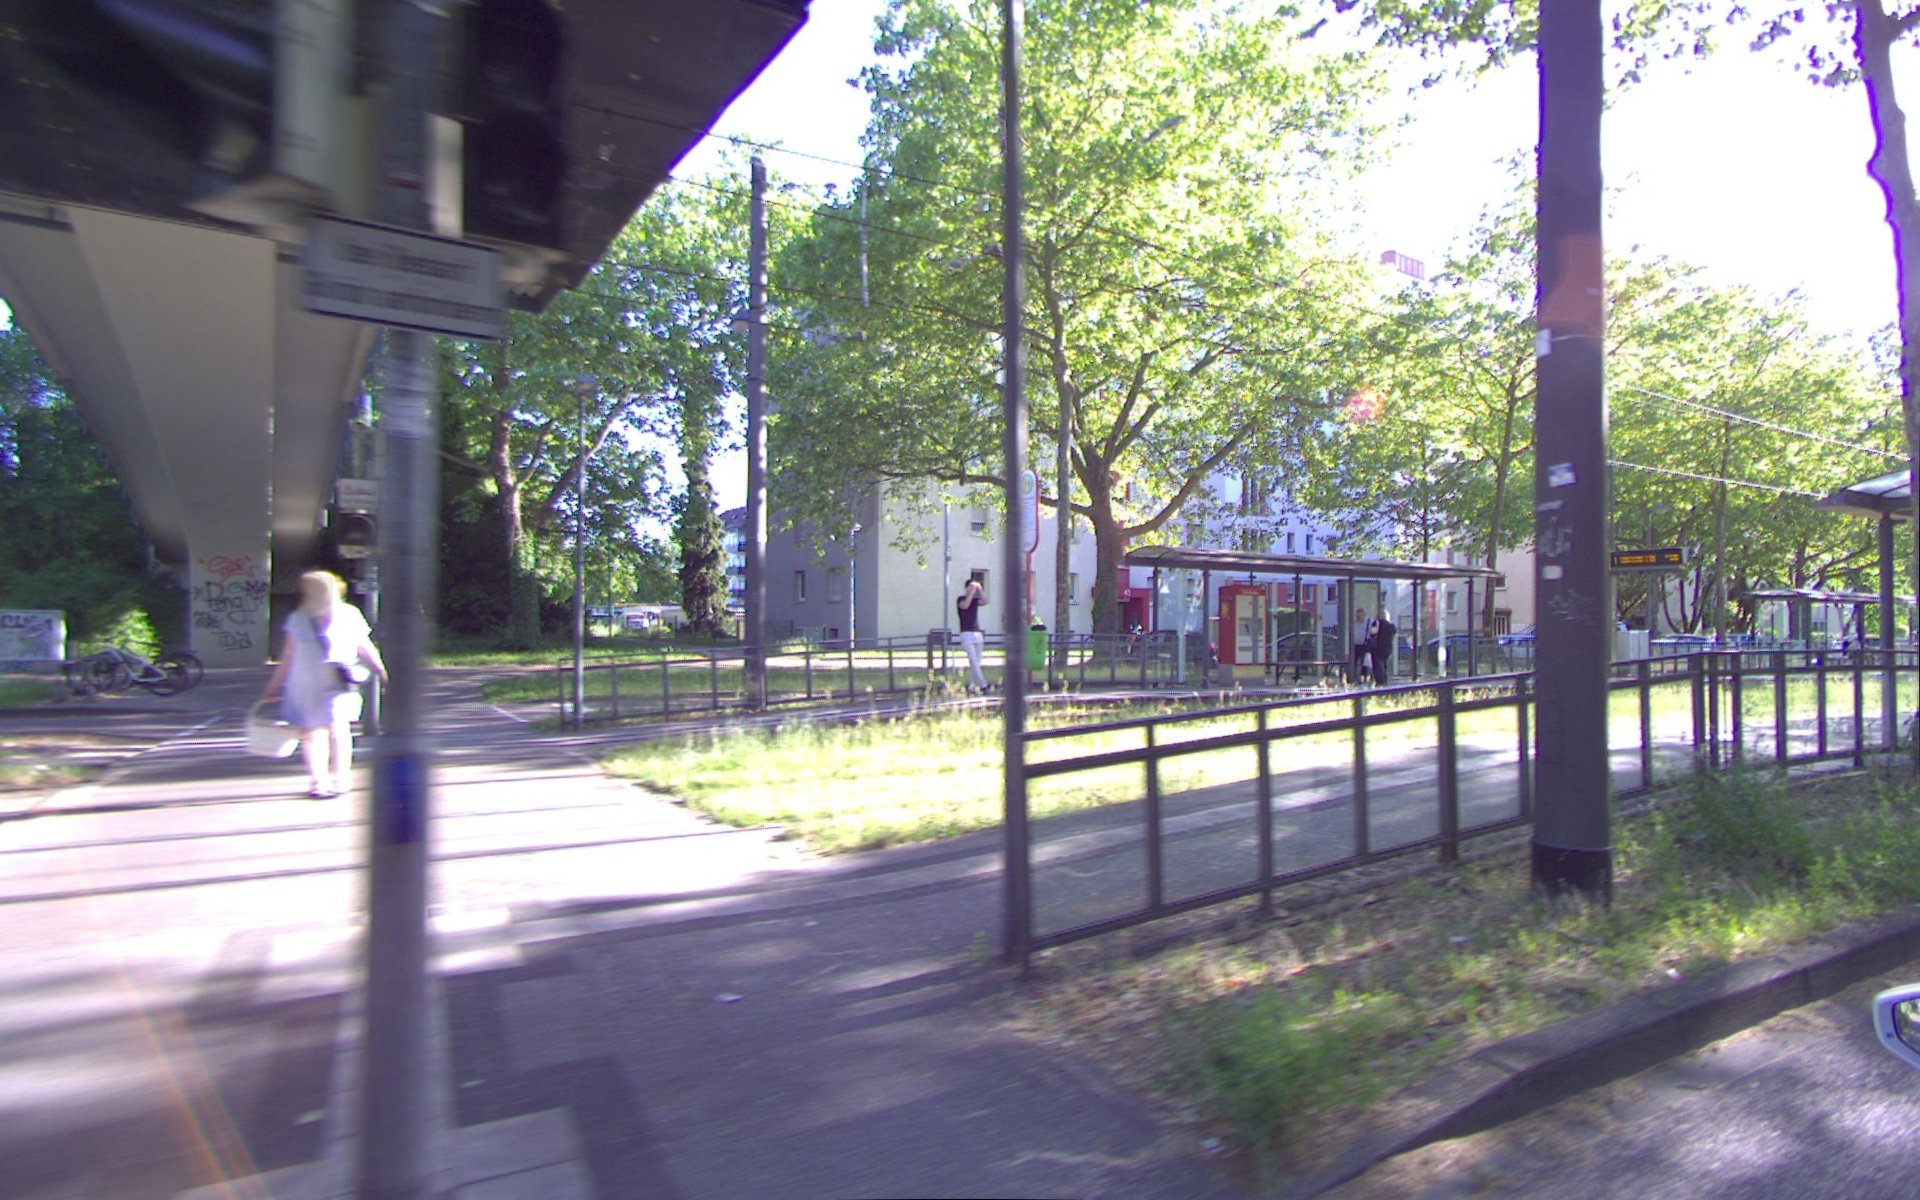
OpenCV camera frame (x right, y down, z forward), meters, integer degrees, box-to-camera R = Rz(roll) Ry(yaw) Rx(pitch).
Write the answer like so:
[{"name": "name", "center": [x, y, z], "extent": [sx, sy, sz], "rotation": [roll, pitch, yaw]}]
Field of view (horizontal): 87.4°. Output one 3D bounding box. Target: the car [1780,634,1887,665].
[{"name": "car", "center": [47.729, 2.695, 54.947], "extent": [4.090, 1.565, 1.647], "rotation": [0, 0, 12]}]

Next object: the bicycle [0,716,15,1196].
[{"name": "bicycle", "center": [-2.292, 0.883, 1.535], "extent": [0.805, 1.162, 1.822], "rotation": [0, 1, -29]}]

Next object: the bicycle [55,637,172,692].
[{"name": "bicycle", "center": [-16.414, 1.236, 19.517], "extent": [1.667, 1.022, 0.431], "rotation": [1, 0, -31]}]

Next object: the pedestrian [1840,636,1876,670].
[{"name": "pedestrian", "center": [31.007, 1.837, 34.695], "extent": [0.654, 1.141, 0.692], "rotation": [2, -4, -29]}]

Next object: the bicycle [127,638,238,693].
[{"name": "bicycle", "center": [-15.252, 1.267, 19.736], "extent": [1.667, 1.022, 0.431], "rotation": [1, 0, -31]}]

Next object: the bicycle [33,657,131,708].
[{"name": "bicycle", "center": [-14.695, 1.365, 16.841], "extent": [1.160, 0.789, 0.431], "rotation": [1, 0, -31]}]

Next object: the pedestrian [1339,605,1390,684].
[{"name": "pedestrian", "center": [8.620, 0.948, 21.421], "extent": [0.705, 1.656, 0.727], "rotation": [1, -2, -24]}]

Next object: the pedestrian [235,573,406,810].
[{"name": "pedestrian", "center": [-4.920, 0.666, 7.764], "extent": [1.038, 1.696, 0.720], "rotation": [2, 0, -34]}]

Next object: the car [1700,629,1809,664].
[{"name": "car", "center": [39.779, 2.309, 50.380], "extent": [3.977, 1.590, 1.576], "rotation": [0, 1, 12]}]

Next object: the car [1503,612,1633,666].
[{"name": "car", "center": [25.646, 1.610, 42.571], "extent": [4.412, 2.091, 1.899], "rotation": [1, 1, 22]}]

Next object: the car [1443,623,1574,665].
[{"name": "car", "center": [22.390, 1.782, 41.192], "extent": [4.411, 1.518, 1.900], "rotation": [1, 1, 19]}]

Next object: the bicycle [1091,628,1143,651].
[{"name": "bicycle", "center": [7.106, 1.756, 45.348], "extent": [2.568, 0.940, 0.691], "rotation": [0, 1, -34]}]

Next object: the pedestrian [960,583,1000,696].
[{"name": "pedestrian", "center": [0.329, 0.627, 16.317], "extent": [0.494, 1.794, 0.484], "rotation": [1, 0, 20]}]

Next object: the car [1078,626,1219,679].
[{"name": "car", "center": [5.954, 1.610, 31.785], "extent": [4.118, 1.447, 1.699], "rotation": [1, 1, 22]}]

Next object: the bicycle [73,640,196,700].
[{"name": "bicycle", "center": [-14.957, 1.259, 18.246], "extent": [1.667, 1.022, 0.431], "rotation": [1, 0, -31]}]

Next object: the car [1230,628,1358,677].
[{"name": "car", "center": [11.573, 1.782, 34.812], "extent": [4.118, 1.447, 1.699], "rotation": [1, 1, 22]}]

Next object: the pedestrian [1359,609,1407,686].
[{"name": "pedestrian", "center": [8.547, 0.957, 20.322], "extent": [0.670, 1.533, 0.644], "rotation": [0, -2, 0]}]

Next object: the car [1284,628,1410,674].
[{"name": "car", "center": [13.932, 1.795, 36.240], "extent": [4.118, 1.447, 1.699], "rotation": [1, 1, 22]}]

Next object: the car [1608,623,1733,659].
[{"name": "car", "center": [33.508, 1.915, 47.478], "extent": [4.409, 1.524, 1.901], "rotation": [0, 0, 12]}]

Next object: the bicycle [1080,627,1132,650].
[{"name": "bicycle", "center": [6.700, 1.754, 46.078], "extent": [2.568, 0.940, 0.691], "rotation": [0, 1, -34]}]

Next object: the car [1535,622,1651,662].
[{"name": "car", "center": [27.804, 1.806, 44.254], "extent": [3.978, 1.632, 1.690], "rotation": [0, 0, 17]}]
